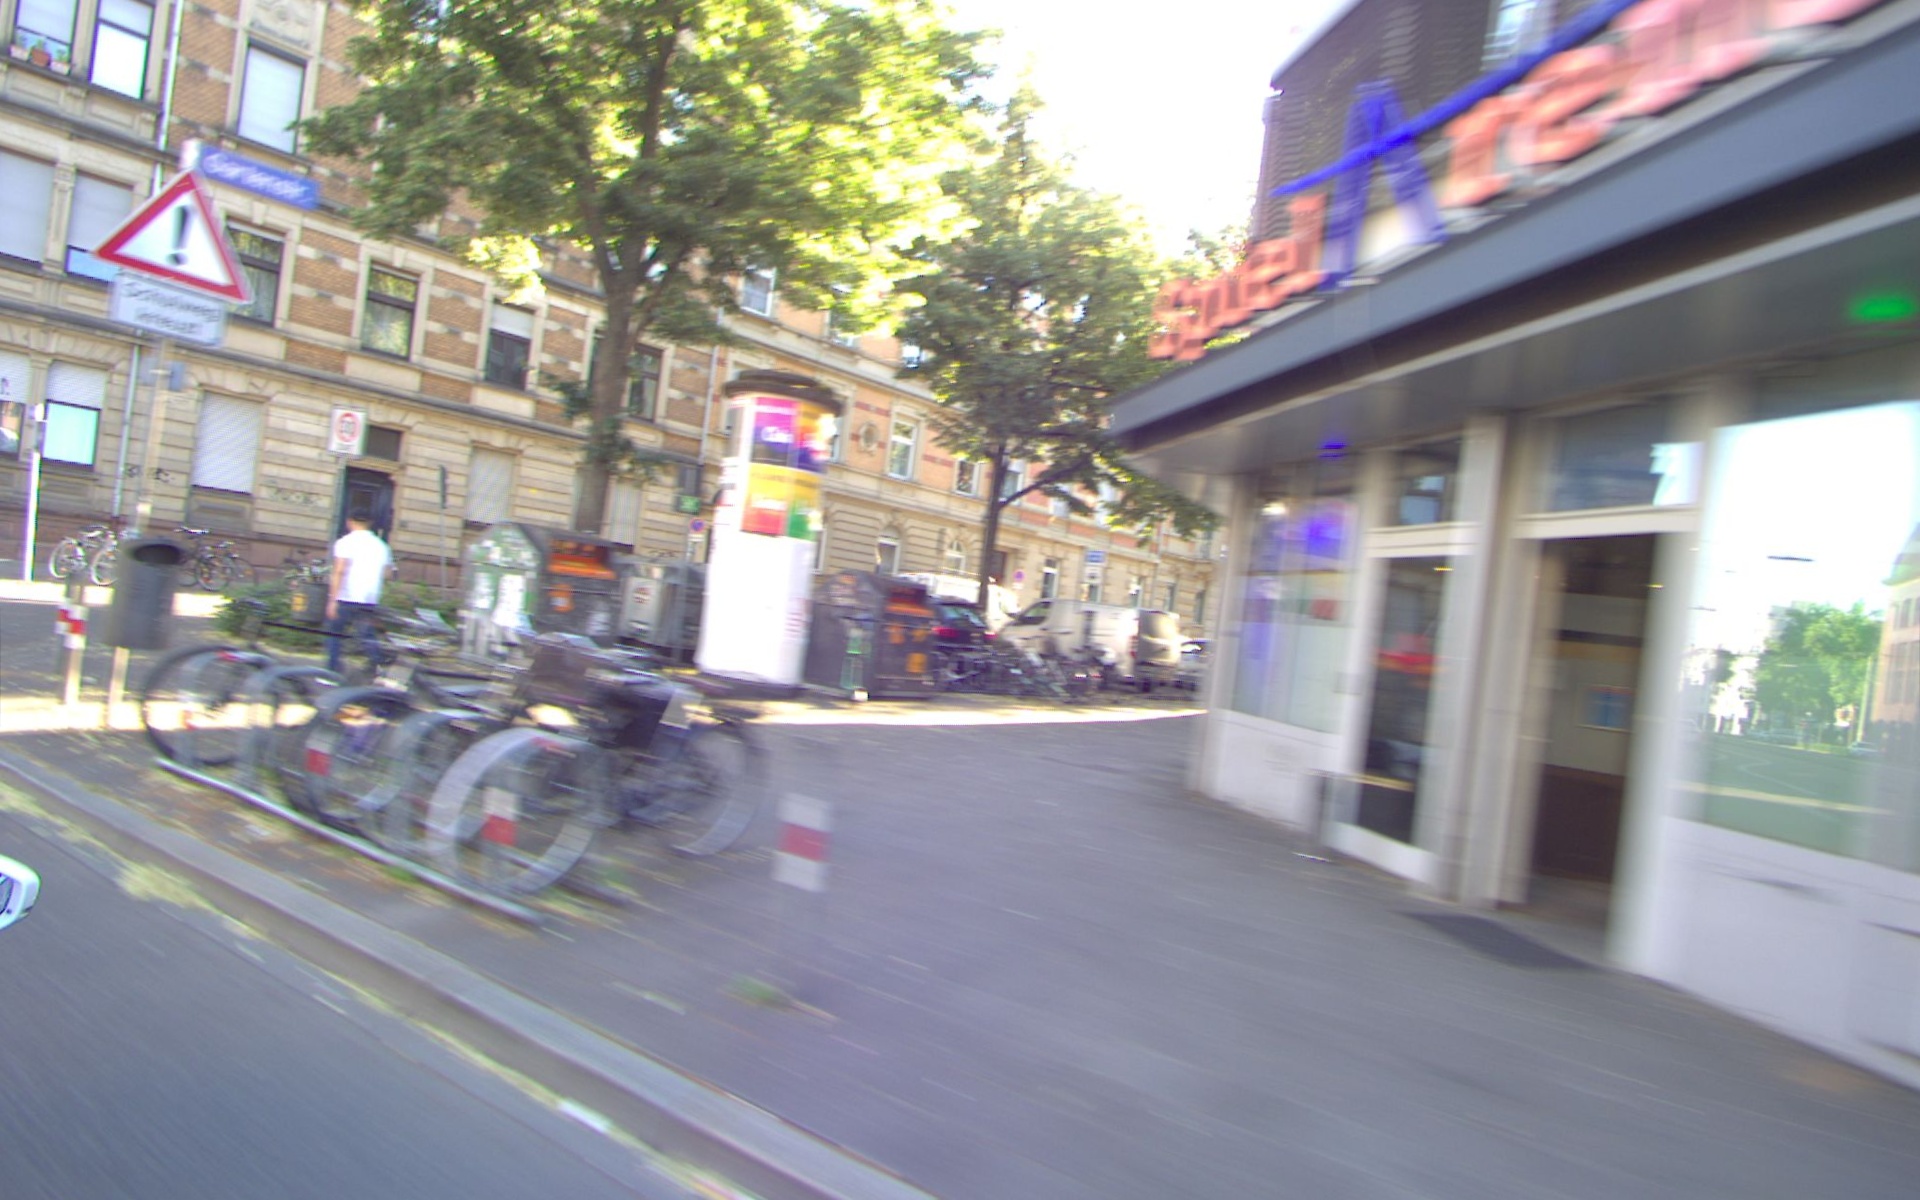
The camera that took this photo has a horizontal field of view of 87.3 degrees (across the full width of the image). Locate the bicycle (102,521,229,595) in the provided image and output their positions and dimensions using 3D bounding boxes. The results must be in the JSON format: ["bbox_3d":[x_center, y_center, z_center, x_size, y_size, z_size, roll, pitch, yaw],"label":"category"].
[{"bbox_3d":[-14.441,-0.758,18.298,1.872,1.052,0.464,8,0,3],"label":"bicycle"}]

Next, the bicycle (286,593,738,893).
[{"bbox_3d":[-2.044,0.637,4.954,0.604,1.118,1.974,7,-1,28],"label":"bicycle"}]

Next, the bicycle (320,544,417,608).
[{"bbox_3d":[-12.749,-0.516,21.685,1.871,1.137,0.405,8,0,11],"label":"bicycle"}]

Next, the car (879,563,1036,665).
[{"bbox_3d":[-0.003,0.494,32.134,1.948,2.547,4.853,6,-3,44],"label":"car"}]

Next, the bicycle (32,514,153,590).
[{"bbox_3d":[-14.872,-0.818,17.243,1.871,1.037,0.453,8,0,13],"label":"bicycle"}]

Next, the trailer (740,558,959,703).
[{"bbox_3d":[-1.773,0.439,15.654,3.142,1.907,1.572,6,0,42],"label":"trailer"}]

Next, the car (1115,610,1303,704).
[{"bbox_3d":[6.774,1.530,27.810,1.960,1.962,4.590,10,-3,-40],"label":"car"}]

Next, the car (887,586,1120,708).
[{"bbox_3d":[0.734,0.836,18.655,1.962,1.753,3.883,7,-1,-45],"label":"car"}]

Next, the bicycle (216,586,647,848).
[{"bbox_3d":[-2.659,0.585,5.321,0.705,1.066,1.838,7,-1,28],"label":"bicycle"}]

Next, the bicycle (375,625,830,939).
[{"bbox_3d":[-1.492,0.747,4.633,0.669,1.059,1.918,7,-1,28],"label":"bicycle"}]

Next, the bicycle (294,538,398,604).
[{"bbox_3d":[-12.981,-0.609,21.283,1.920,1.137,0.447,8,0,7],"label":"bicycle"}]

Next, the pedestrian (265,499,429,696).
[{"bbox_3d":[-5.832,-0.017,9.575,1.016,1.686,0.784,9,1,32],"label":"pedestrian"}]

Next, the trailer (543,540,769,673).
[{"bbox_3d":[-5.262,0.062,17.164,1.961,1.753,3.882,7,0,-45],"label":"trailer"}]

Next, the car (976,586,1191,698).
[{"bbox_3d":[2.845,0.949,24.308,1.892,2.074,4.993,10,-3,-40],"label":"car"}]

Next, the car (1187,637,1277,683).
[{"bbox_3d":[11.910,2.629,43.973,4.194,1.443,1.803,11,-3,-44],"label":"car"}]

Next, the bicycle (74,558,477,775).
[{"bbox_3d":[-4.064,0.418,6.163,0.698,1.066,1.838,7,-1,28],"label":"bicycle"}]

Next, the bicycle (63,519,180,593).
[{"bbox_3d":[-14.664,-0.761,17.594,1.871,1.037,0.418,8,0,13],"label":"bicycle"}]

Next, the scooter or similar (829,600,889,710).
[{"bbox_3d":[-1.352,0.700,13.318,0.368,1.359,1.277,8,-2,-17],"label":"scooter or similar"}]

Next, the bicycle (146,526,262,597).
[{"bbox_3d":[-14.071,-0.715,18.737,1.871,1.037,0.497,8,0,11],"label":"bicycle"}]

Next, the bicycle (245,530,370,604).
[{"bbox_3d":[-13.144,-0.656,20.287,2.067,1.196,0.616,8,0,5],"label":"bicycle"}]
